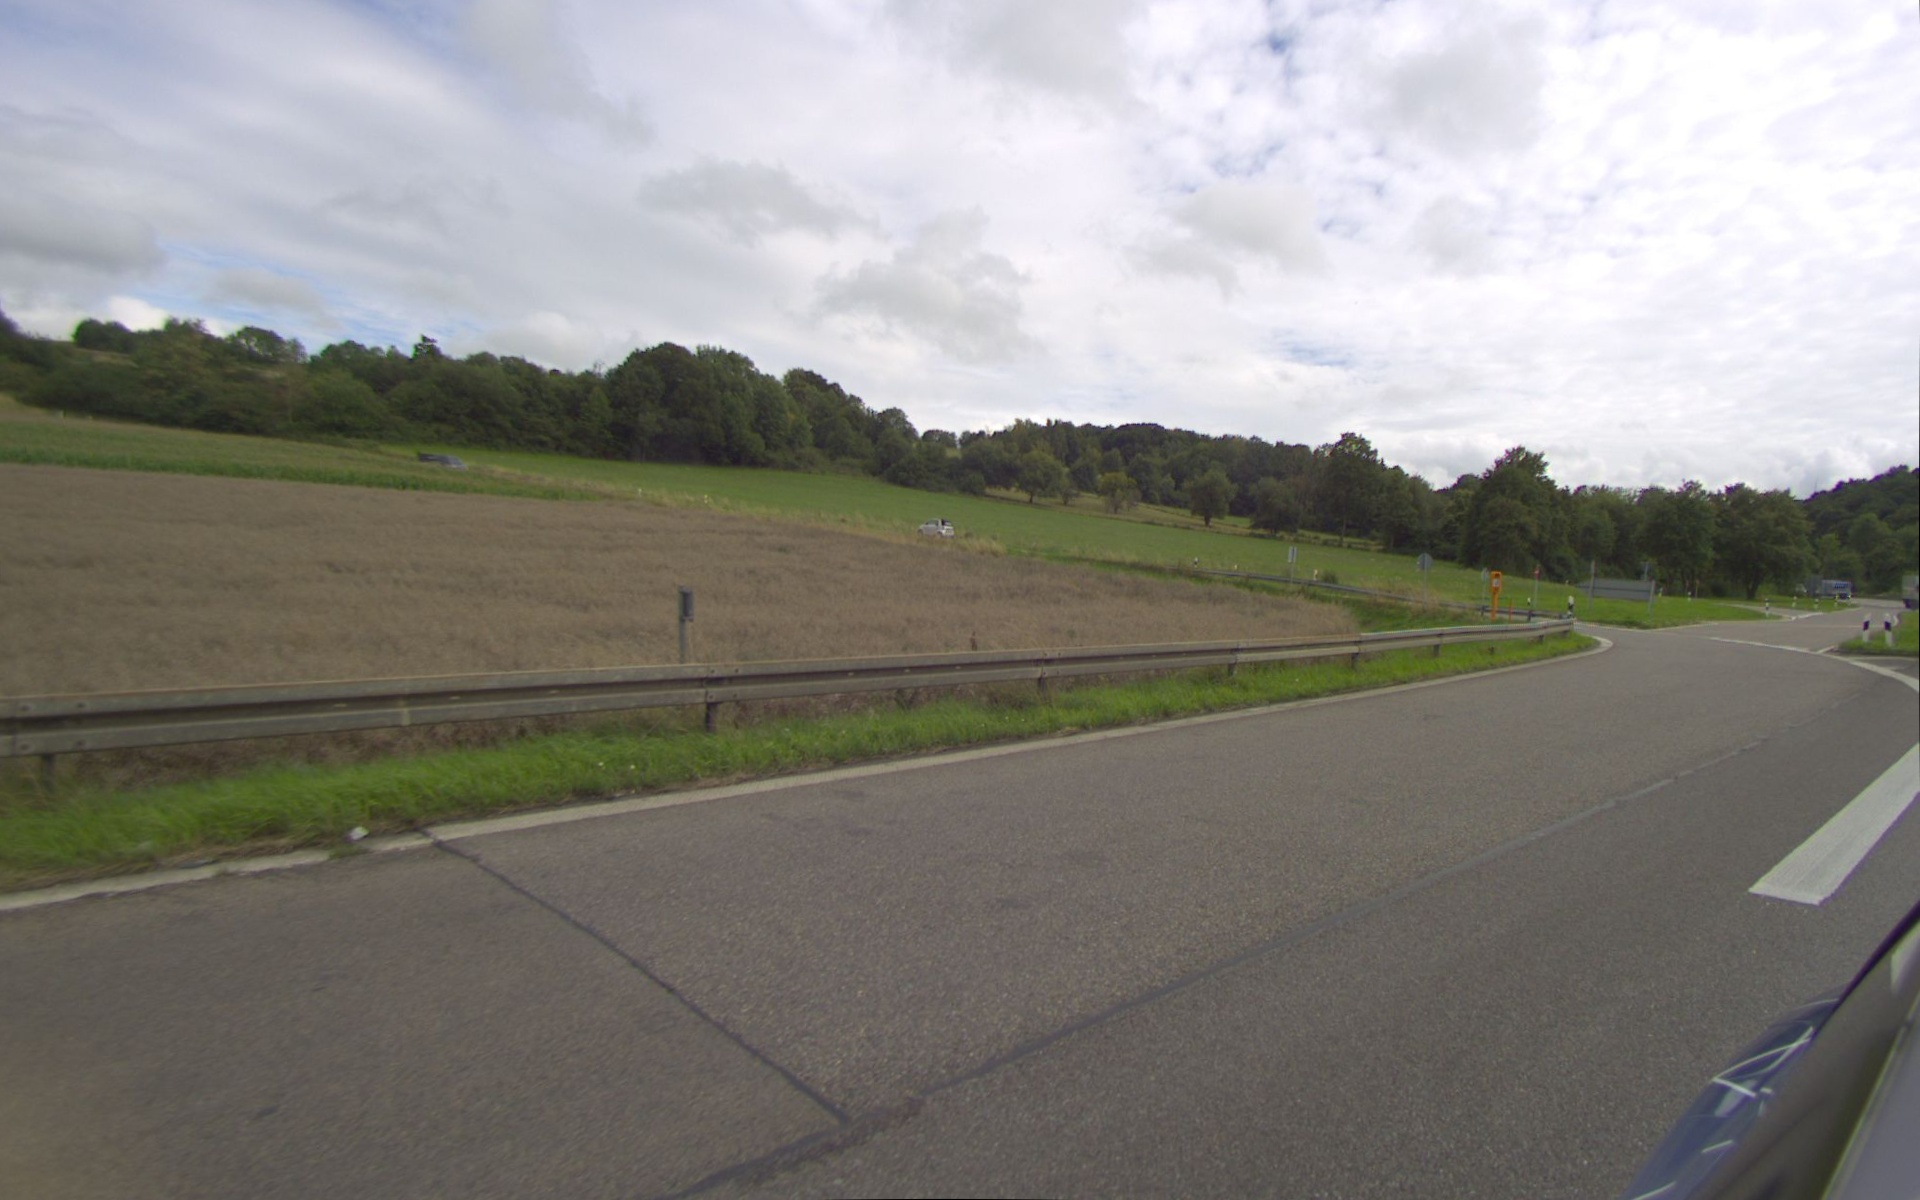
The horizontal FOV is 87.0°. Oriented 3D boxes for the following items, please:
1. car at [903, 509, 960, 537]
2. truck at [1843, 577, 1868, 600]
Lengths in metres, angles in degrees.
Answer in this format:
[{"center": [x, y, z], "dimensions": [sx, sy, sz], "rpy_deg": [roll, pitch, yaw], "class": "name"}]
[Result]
[{"center": [-2.222, -5.888, 77.561], "dimensions": [3.981, 1.569, 1.761], "rpy_deg": [11, 5, 35], "class": "car"}, {"center": [169.521, -2.190, 191.597], "dimensions": [2.781, 4.019, 5.865], "rpy_deg": [2, 3, 36], "class": "truck"}]
